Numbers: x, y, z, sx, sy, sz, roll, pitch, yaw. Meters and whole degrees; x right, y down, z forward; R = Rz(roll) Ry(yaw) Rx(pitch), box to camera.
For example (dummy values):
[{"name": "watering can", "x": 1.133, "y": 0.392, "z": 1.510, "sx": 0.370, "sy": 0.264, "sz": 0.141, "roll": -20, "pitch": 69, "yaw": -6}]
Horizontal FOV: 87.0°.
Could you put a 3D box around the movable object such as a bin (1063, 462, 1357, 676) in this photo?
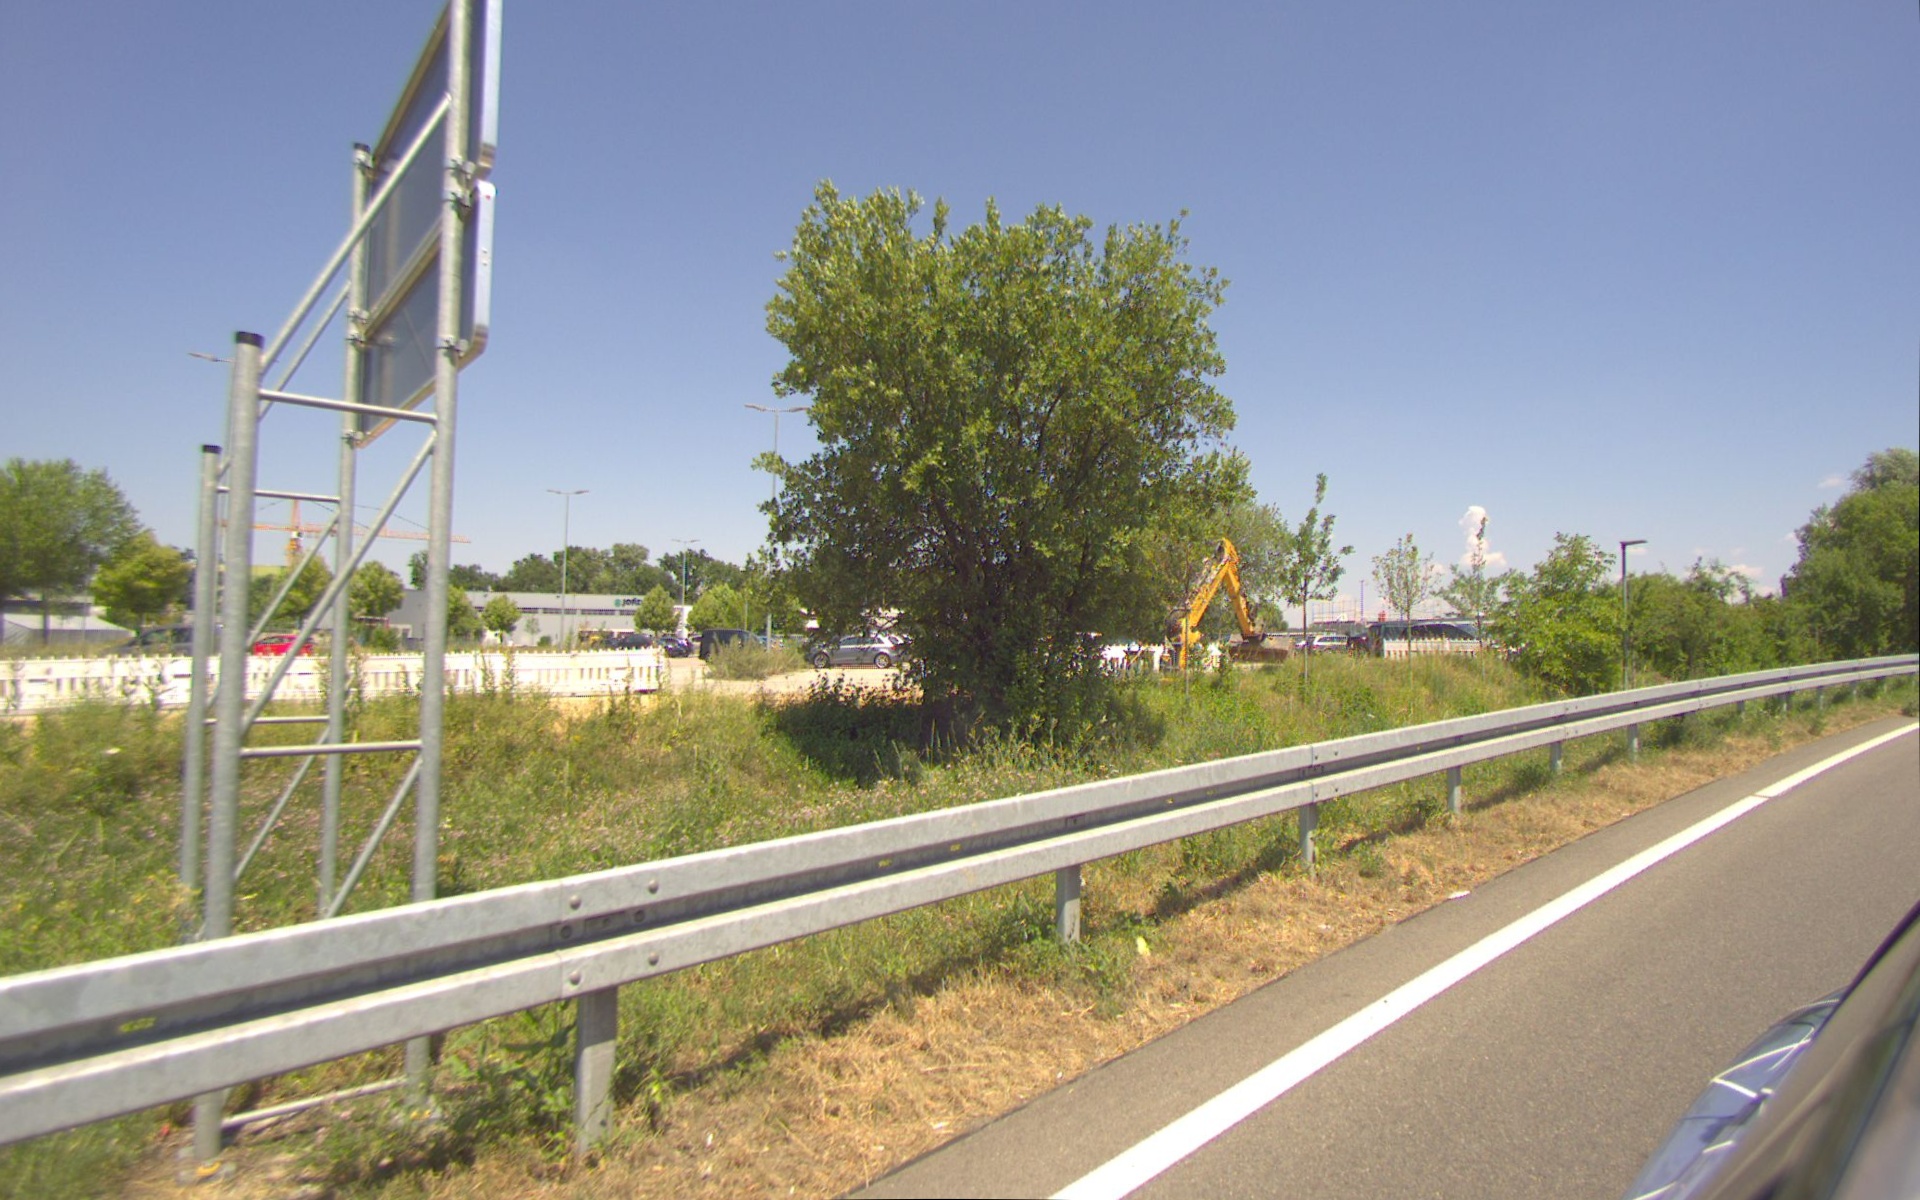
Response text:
[{"name": "movable object such as a bin", "x": 7.491, "y": -0.525, "z": 29.430, "sx": 9.057, "sy": 5.331, "sz": 3.432, "roll": 4, "pitch": -4, "yaw": -38}]

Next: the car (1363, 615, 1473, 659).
[{"name": "car", "x": 24.693, "y": 2.017, "z": 54.653, "sx": 5.051, "sy": 2.199, "sz": 2.000, "roll": 1, "pitch": -3, "yaw": -4}]

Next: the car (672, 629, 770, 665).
[{"name": "car", "x": -11.873, "y": 2.340, "z": 50.541, "sx": 4.453, "sy": 1.707, "sz": 2.103, "roll": -1, "pitch": -1, "yaw": -2}]

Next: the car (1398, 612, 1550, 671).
[{"name": "car", "x": 18.344, "y": 1.507, "z": 36.324, "sx": 2.024, "sy": 1.939, "sz": 4.446, "roll": 3, "pitch": -4, "yaw": -34}]

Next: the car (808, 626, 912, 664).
[{"name": "car", "x": -4.527, "y": 2.053, "z": 46.248, "sx": 4.504, "sy": 1.658, "sz": 2.013, "roll": 0, "pitch": -1, "yaw": 2}]

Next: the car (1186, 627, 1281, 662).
[{"name": "car", "x": 13.183, "y": 2.142, "z": 48.943, "sx": 4.009, "sy": 1.588, "sz": 1.947, "roll": 0, "pitch": -1, "yaw": -1}]

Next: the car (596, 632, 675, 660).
[{"name": "car", "x": -21.216, "y": 2.988, "z": 66.277, "sx": 4.462, "sy": 1.707, "sz": 2.098, "roll": -1, "pitch": -1, "yaw": 7}]

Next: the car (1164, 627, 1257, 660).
[{"name": "car", "x": 12.705, "y": 2.205, "z": 51.512, "sx": 4.261, "sy": 1.576, "sz": 1.947, "roll": 0, "pitch": -1, "yaw": 1}]

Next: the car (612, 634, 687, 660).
[{"name": "car", "x": -21.189, "y": 3.179, "z": 69.174, "sx": 4.462, "sy": 1.707, "sz": 2.098, "roll": -1, "pitch": -1, "yaw": 7}]

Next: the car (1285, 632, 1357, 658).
[{"name": "car", "x": 23.433, "y": 2.925, "z": 65.716, "sx": 3.922, "sy": 1.588, "sz": 1.948, "roll": 0, "pitch": -1, "yaw": -2}]

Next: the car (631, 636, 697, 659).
[{"name": "car", "x": -22.822, "y": 3.638, "z": 78.065, "sx": 4.462, "sy": 1.707, "sz": 2.098, "roll": -1, "pitch": -1, "yaw": 7}]

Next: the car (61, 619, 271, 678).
[{"name": "car", "x": -26.519, "y": 1.584, "z": 33.966, "sx": 5.236, "sy": 1.839, "sz": 2.104, "roll": 0, "pitch": -1, "yaw": -6}]

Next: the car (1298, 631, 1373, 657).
[{"name": "car", "x": 23.533, "y": 2.761, "z": 63.532, "sx": 3.922, "sy": 1.588, "sz": 1.948, "roll": 0, "pitch": -1, "yaw": -2}]

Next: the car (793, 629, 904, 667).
[{"name": "car", "x": -4.710, "y": 2.027, "z": 43.269, "sx": 4.526, "sy": 1.527, "sz": 1.999, "roll": 0, "pitch": 0, "yaw": 1}]

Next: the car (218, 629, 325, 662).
[{"name": "car", "x": -37.343, "y": 2.444, "z": 54.987, "sx": 4.457, "sy": 1.707, "sz": 2.100, "roll": -1, "pitch": -1, "yaw": 3}]

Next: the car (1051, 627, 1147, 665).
[{"name": "car", "x": 6.422, "y": 2.133, "z": 47.046, "sx": 4.074, "sy": 1.655, "sz": 2.001, "roll": 0, "pitch": 0, "yaw": -3}]

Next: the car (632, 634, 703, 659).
[{"name": "car", "x": -20.923, "y": 3.316, "z": 72.410, "sx": 4.462, "sy": 1.707, "sz": 2.098, "roll": -1, "pitch": -1, "yaw": 7}]

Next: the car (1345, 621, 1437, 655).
[{"name": "car", "x": 23.837, "y": 2.098, "z": 56.031, "sx": 4.237, "sy": 1.754, "sz": 1.946, "roll": 1, "pitch": -3, "yaw": 0}]

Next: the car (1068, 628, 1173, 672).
[{"name": "car", "x": 6.592, "y": 2.050, "z": 41.813, "sx": 3.920, "sy": 1.694, "sz": 2.002, "roll": 0, "pitch": 0, "yaw": -4}]
